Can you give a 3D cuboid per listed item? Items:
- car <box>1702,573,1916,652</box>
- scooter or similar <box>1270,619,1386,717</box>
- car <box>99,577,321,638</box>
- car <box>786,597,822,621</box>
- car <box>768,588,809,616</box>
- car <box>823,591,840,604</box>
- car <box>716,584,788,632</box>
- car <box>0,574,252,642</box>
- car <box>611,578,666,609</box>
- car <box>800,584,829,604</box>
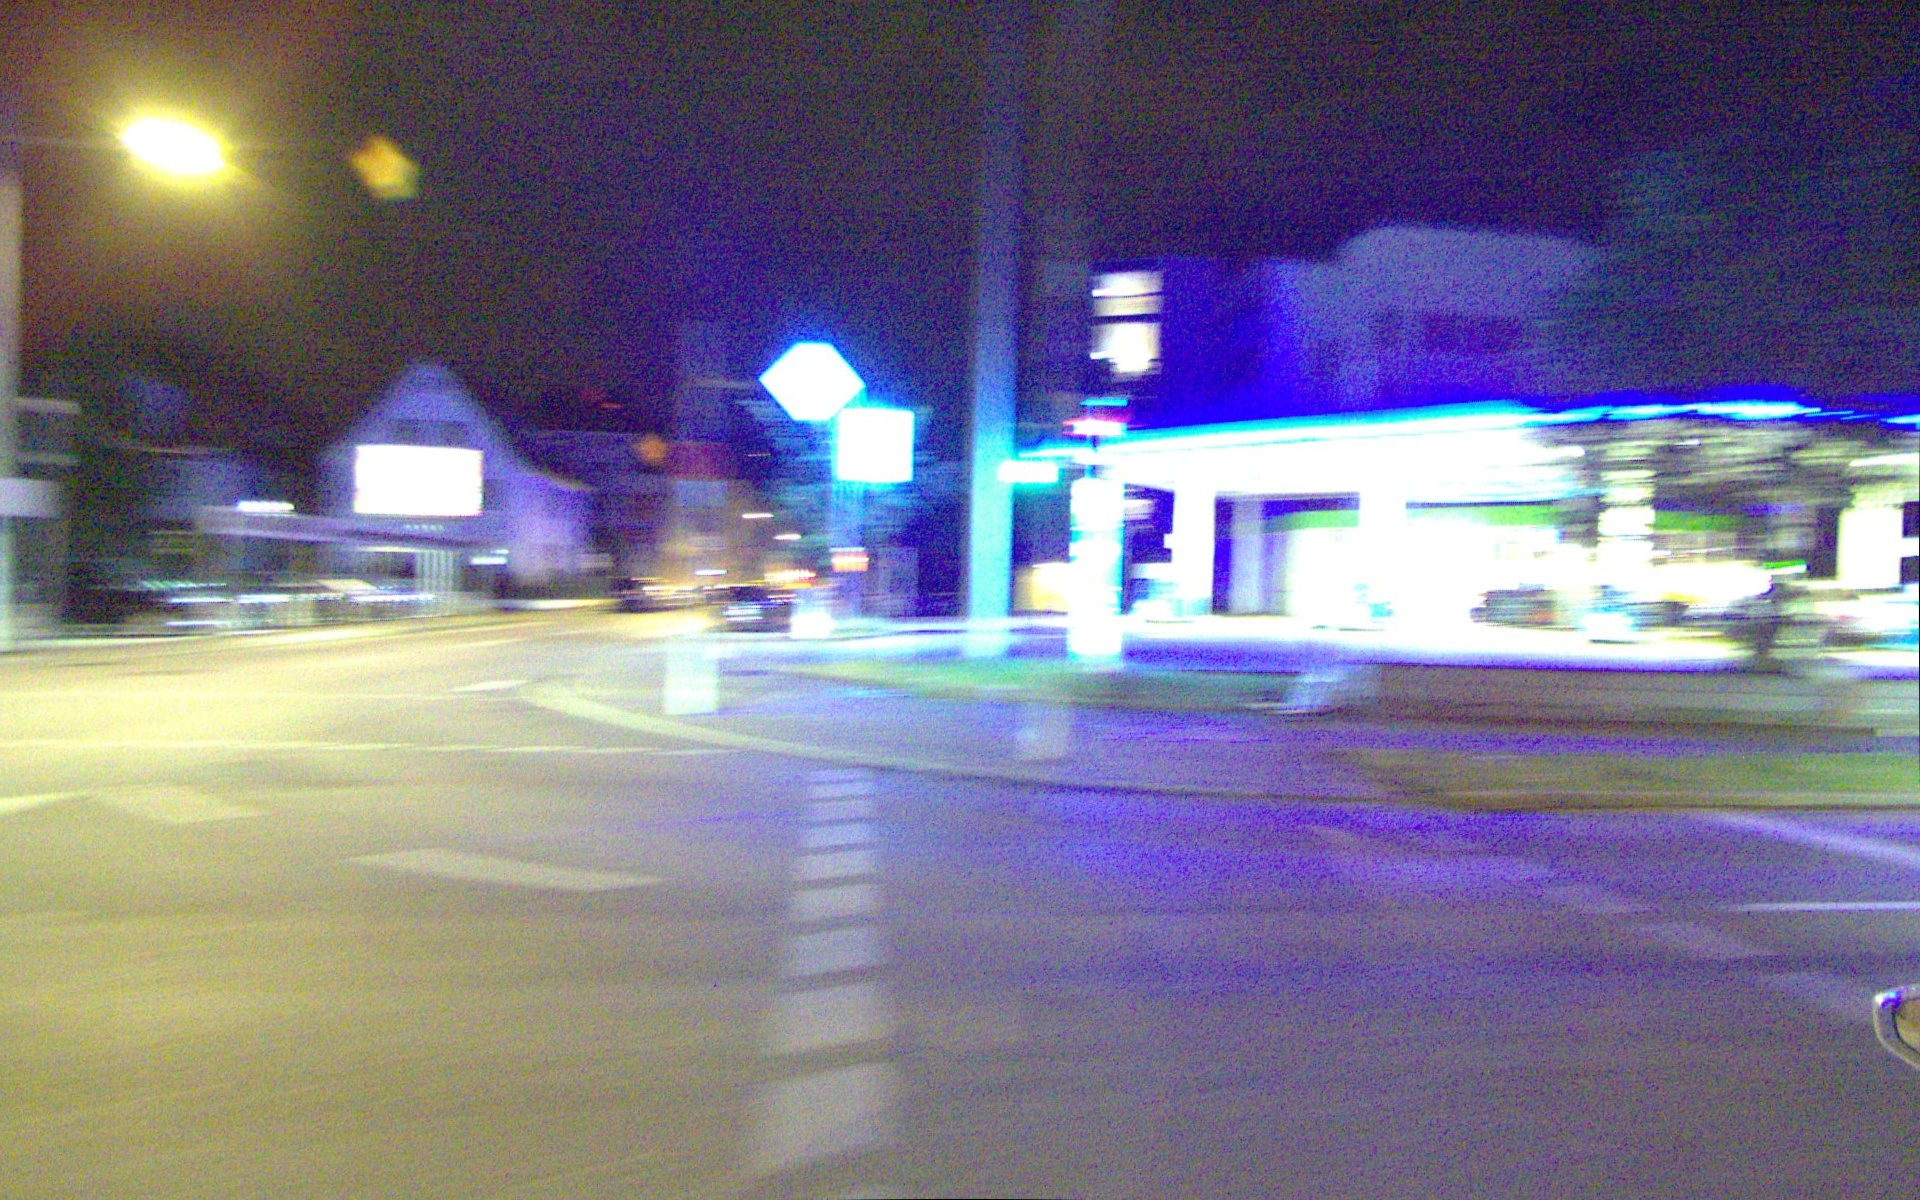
[{"bbox_3d":[22.694,0.253,27.107,1.961,1.793,4.248,2,3,-3],"label":"car"},{"bbox_3d":[4.689,0.824,12.742,1.669,1.106,0.707,0,2,-44],"label":"scooter or similar"},{"bbox_3d":[-20.287,0.219,27.343,4.370,1.469,1.998,2,0,-6],"label":"car"},{"bbox_3d":[-10.359,0.597,66.977,1.962,1.540,3.998,2,0,-4],"label":"car"},{"bbox_3d":[-10.112,0.104,59.534,1.962,1.540,3.998,2,0,-4],"label":"car"},{"bbox_3d":[-16.833,-0.301,131.602,1.962,1.540,3.998,2,0,-4],"label":"car"},{"bbox_3d":[-7.435,0.258,36.226,1.962,1.536,3.997,2,0,-4],"label":"car"},{"bbox_3d":[-20.193,0.195,24.429,4.370,1.469,1.998,2,0,-6],"label":"car"},{"bbox_3d":[-17.136,-0.336,53.737,1.962,1.522,3.997,2,0,-6],"label":"car"},{"bbox_3d":[-11.643,-0.466,80.710,1.962,1.540,3.998,2,0,-4],"label":"car"}]
